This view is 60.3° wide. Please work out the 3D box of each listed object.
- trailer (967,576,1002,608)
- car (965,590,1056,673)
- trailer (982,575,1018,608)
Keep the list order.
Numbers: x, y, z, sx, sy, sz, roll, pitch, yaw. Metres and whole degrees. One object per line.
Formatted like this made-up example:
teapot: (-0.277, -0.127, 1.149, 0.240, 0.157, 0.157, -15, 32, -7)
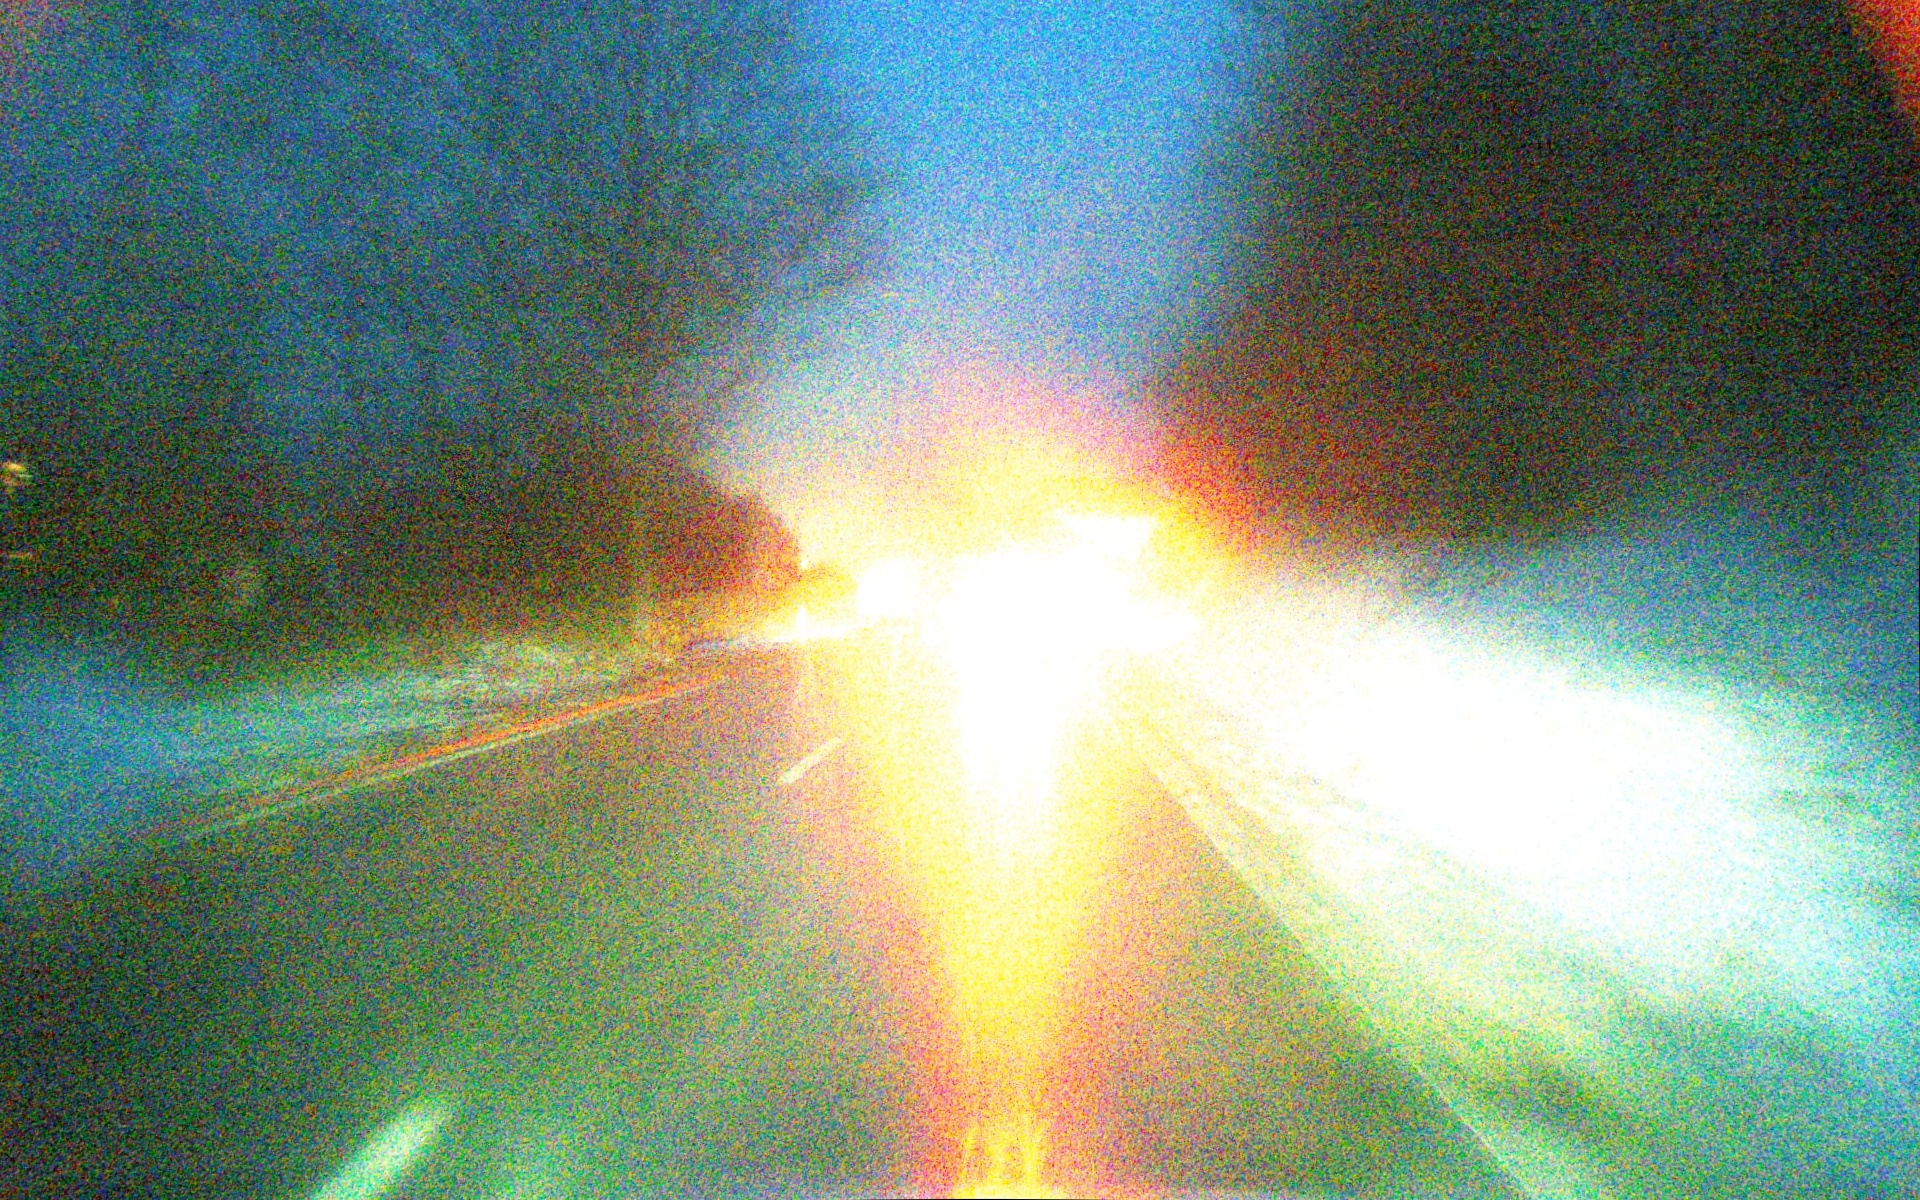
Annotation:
trailer: (1.898, -0.613, 128.089, 1.602, 2.406, 4.637, 2, 0, -13)
car: (1.115, 0.620, 34.919, 1.763, 1.657, 3.617, 0, 0, 4)
trailer: (2.954, -0.608, 123.381, 1.578, 2.393, 4.415, 2, 0, -14)
